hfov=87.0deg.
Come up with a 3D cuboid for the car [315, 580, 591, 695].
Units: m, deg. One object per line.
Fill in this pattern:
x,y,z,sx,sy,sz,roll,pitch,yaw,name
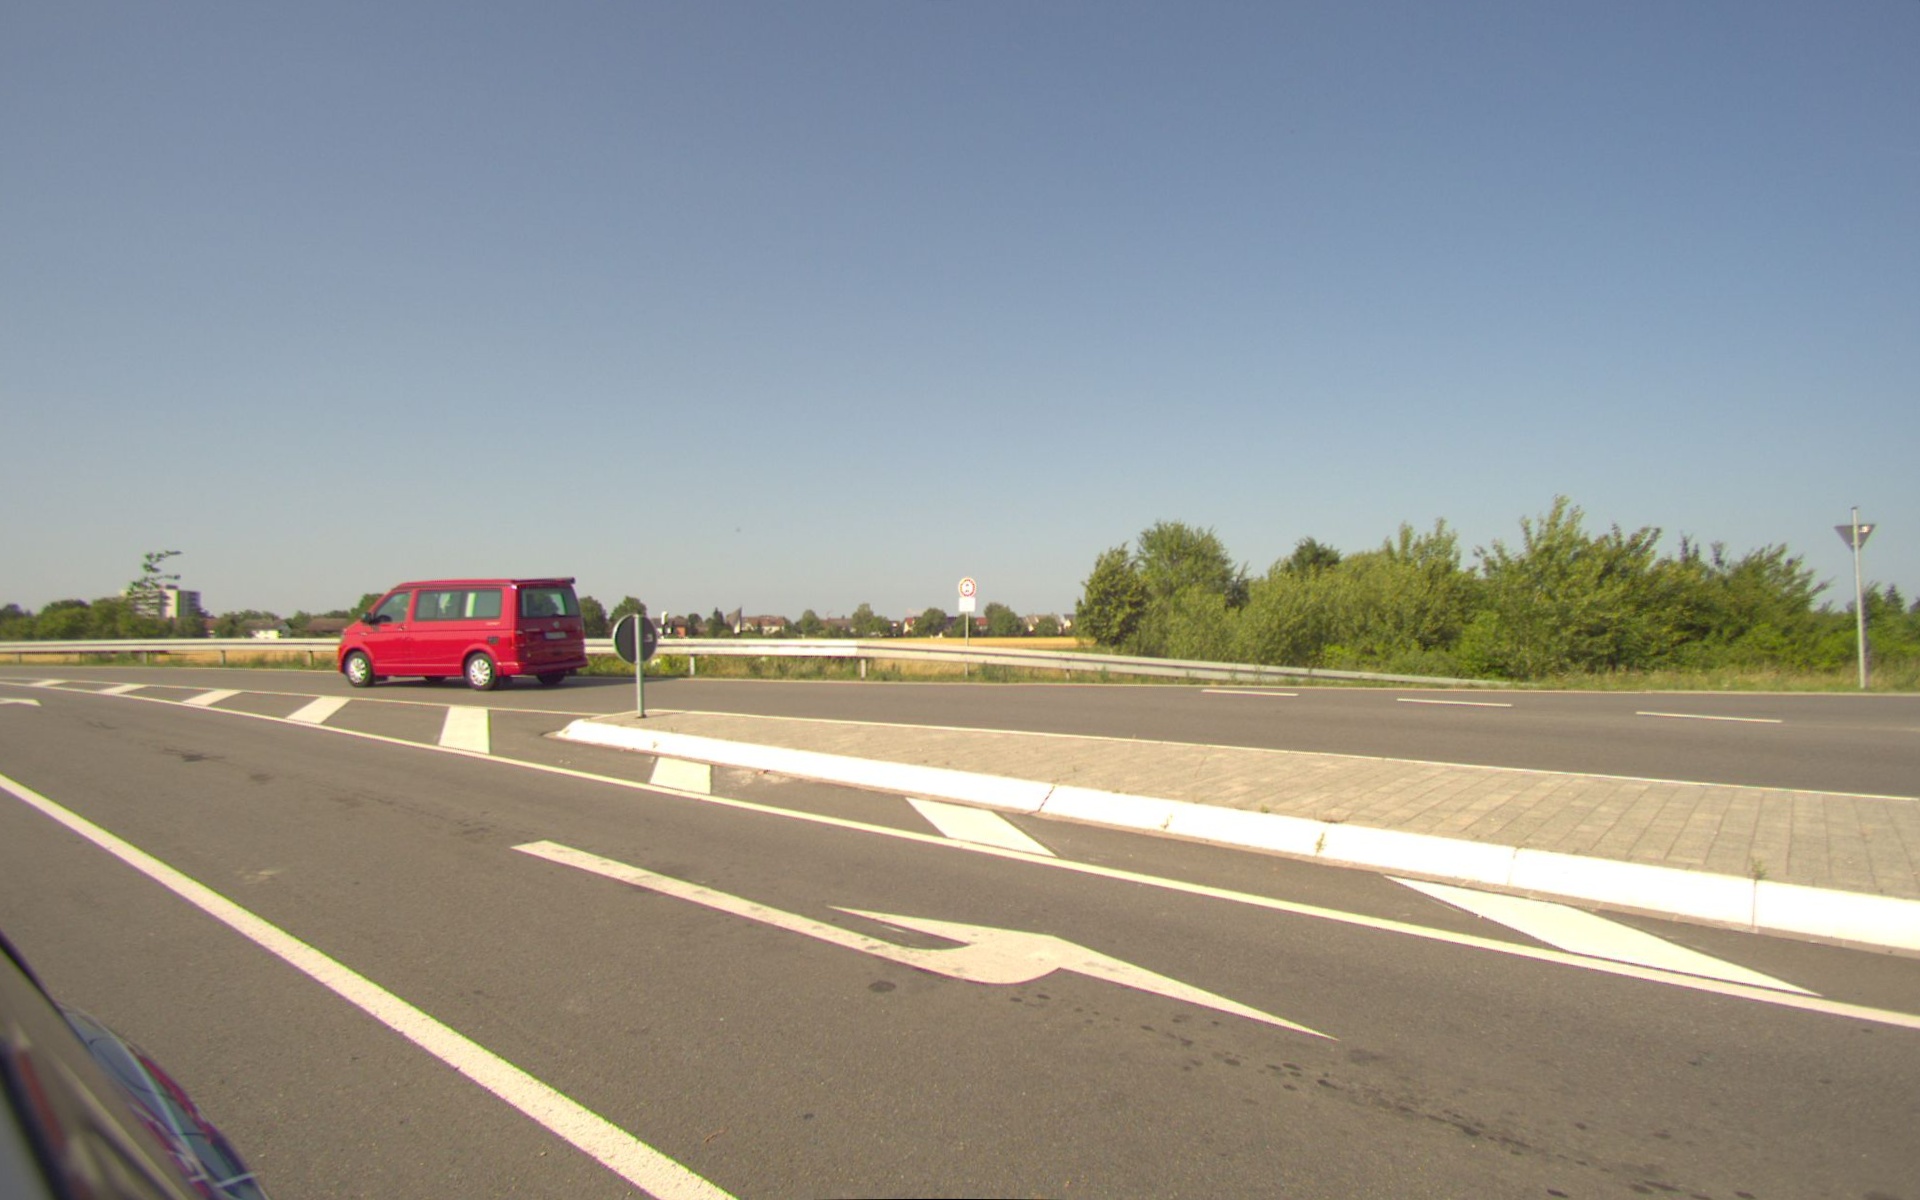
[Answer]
-9.510,0.667,18.990,4.890,1.955,1.827,0,-1,21,car
